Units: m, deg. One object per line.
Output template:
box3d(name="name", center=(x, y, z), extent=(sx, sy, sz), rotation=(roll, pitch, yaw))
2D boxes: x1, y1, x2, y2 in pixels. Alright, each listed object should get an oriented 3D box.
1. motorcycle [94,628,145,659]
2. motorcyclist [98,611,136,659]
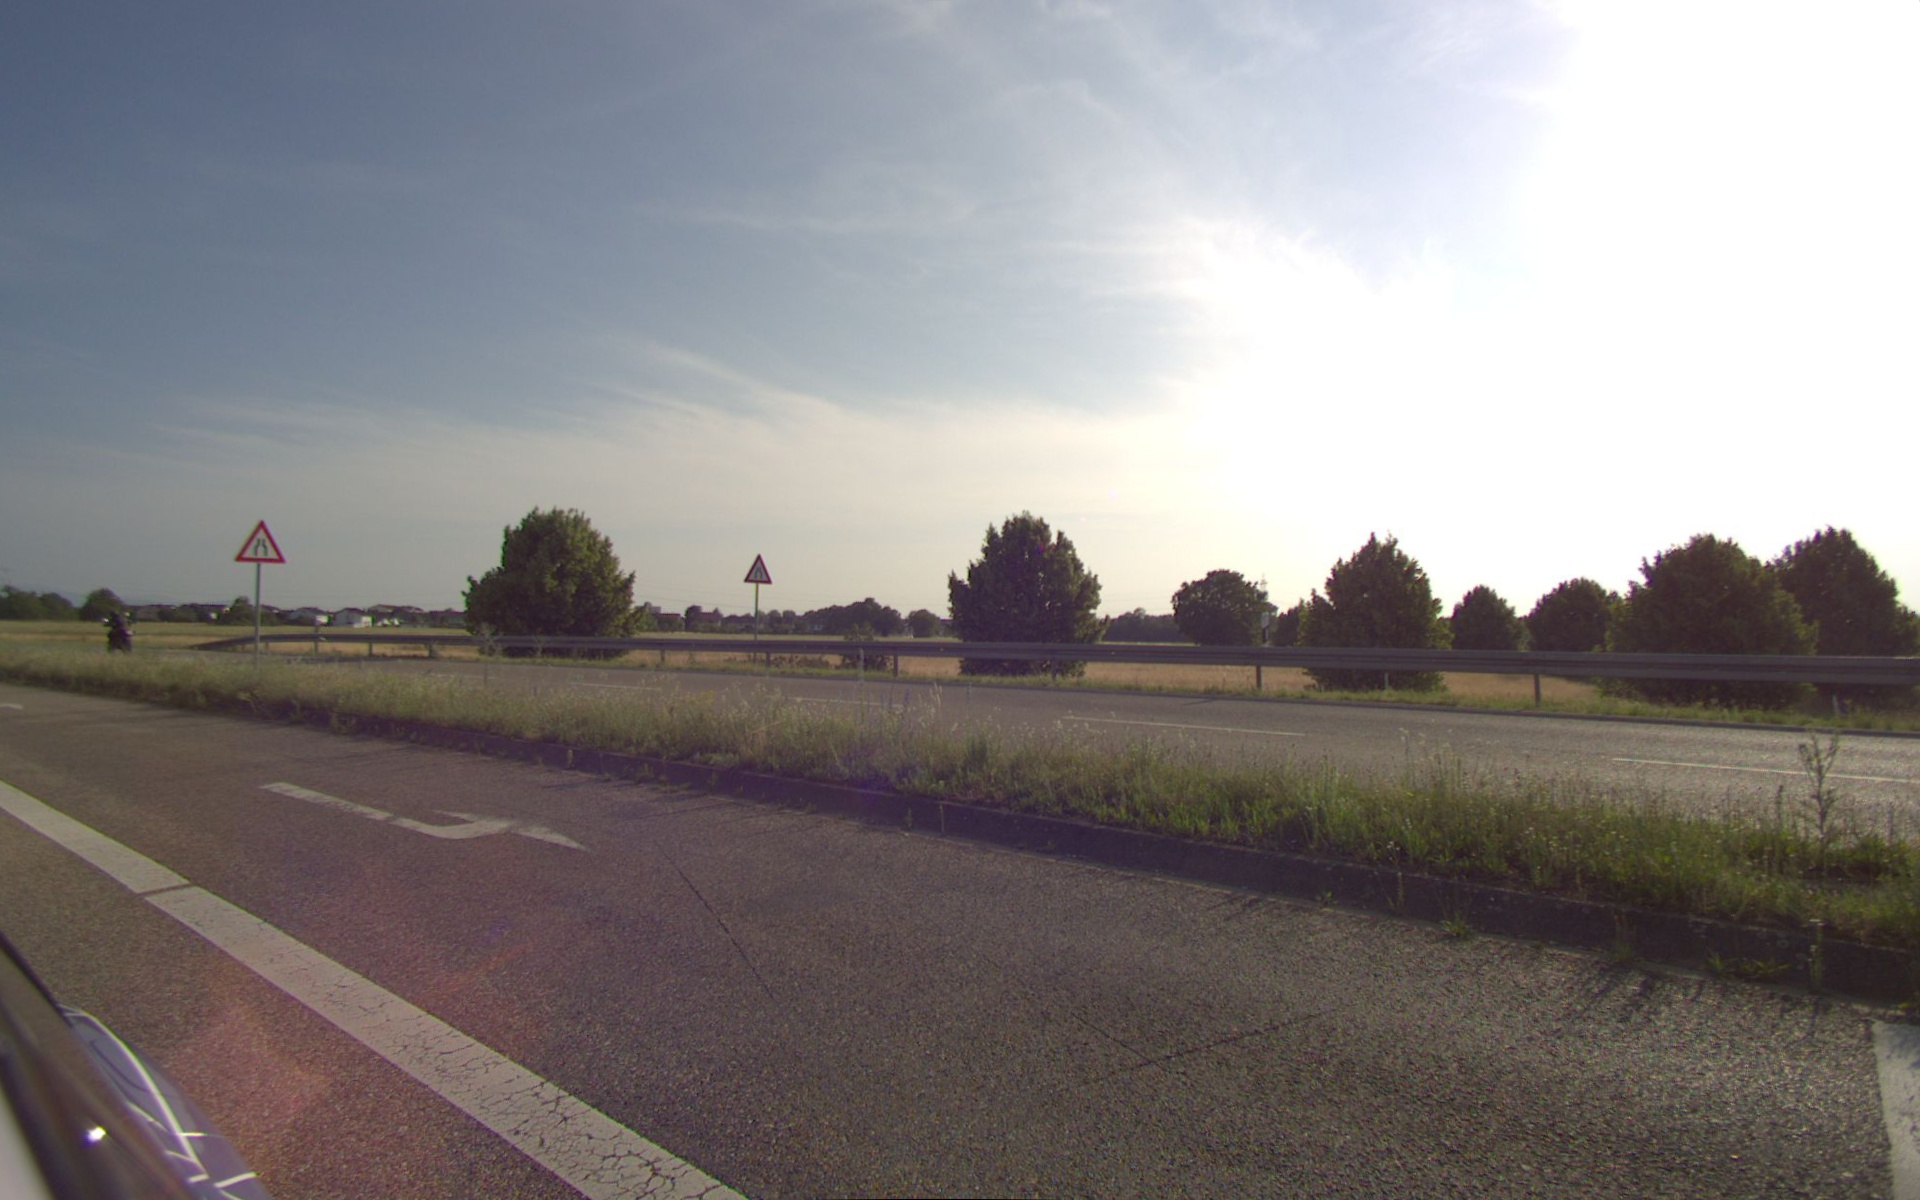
box3d(name="motorcycle", center=(-31.528, 1.621, 37.955), extent=(2.166, 1.133, 0.929), rotation=(-1, -1, 35))
box3d(name="motorcyclist", center=(-31.631, 1.305, 37.971), extent=(0.830, 1.771, 0.896), rotation=(-1, -1, 35))
